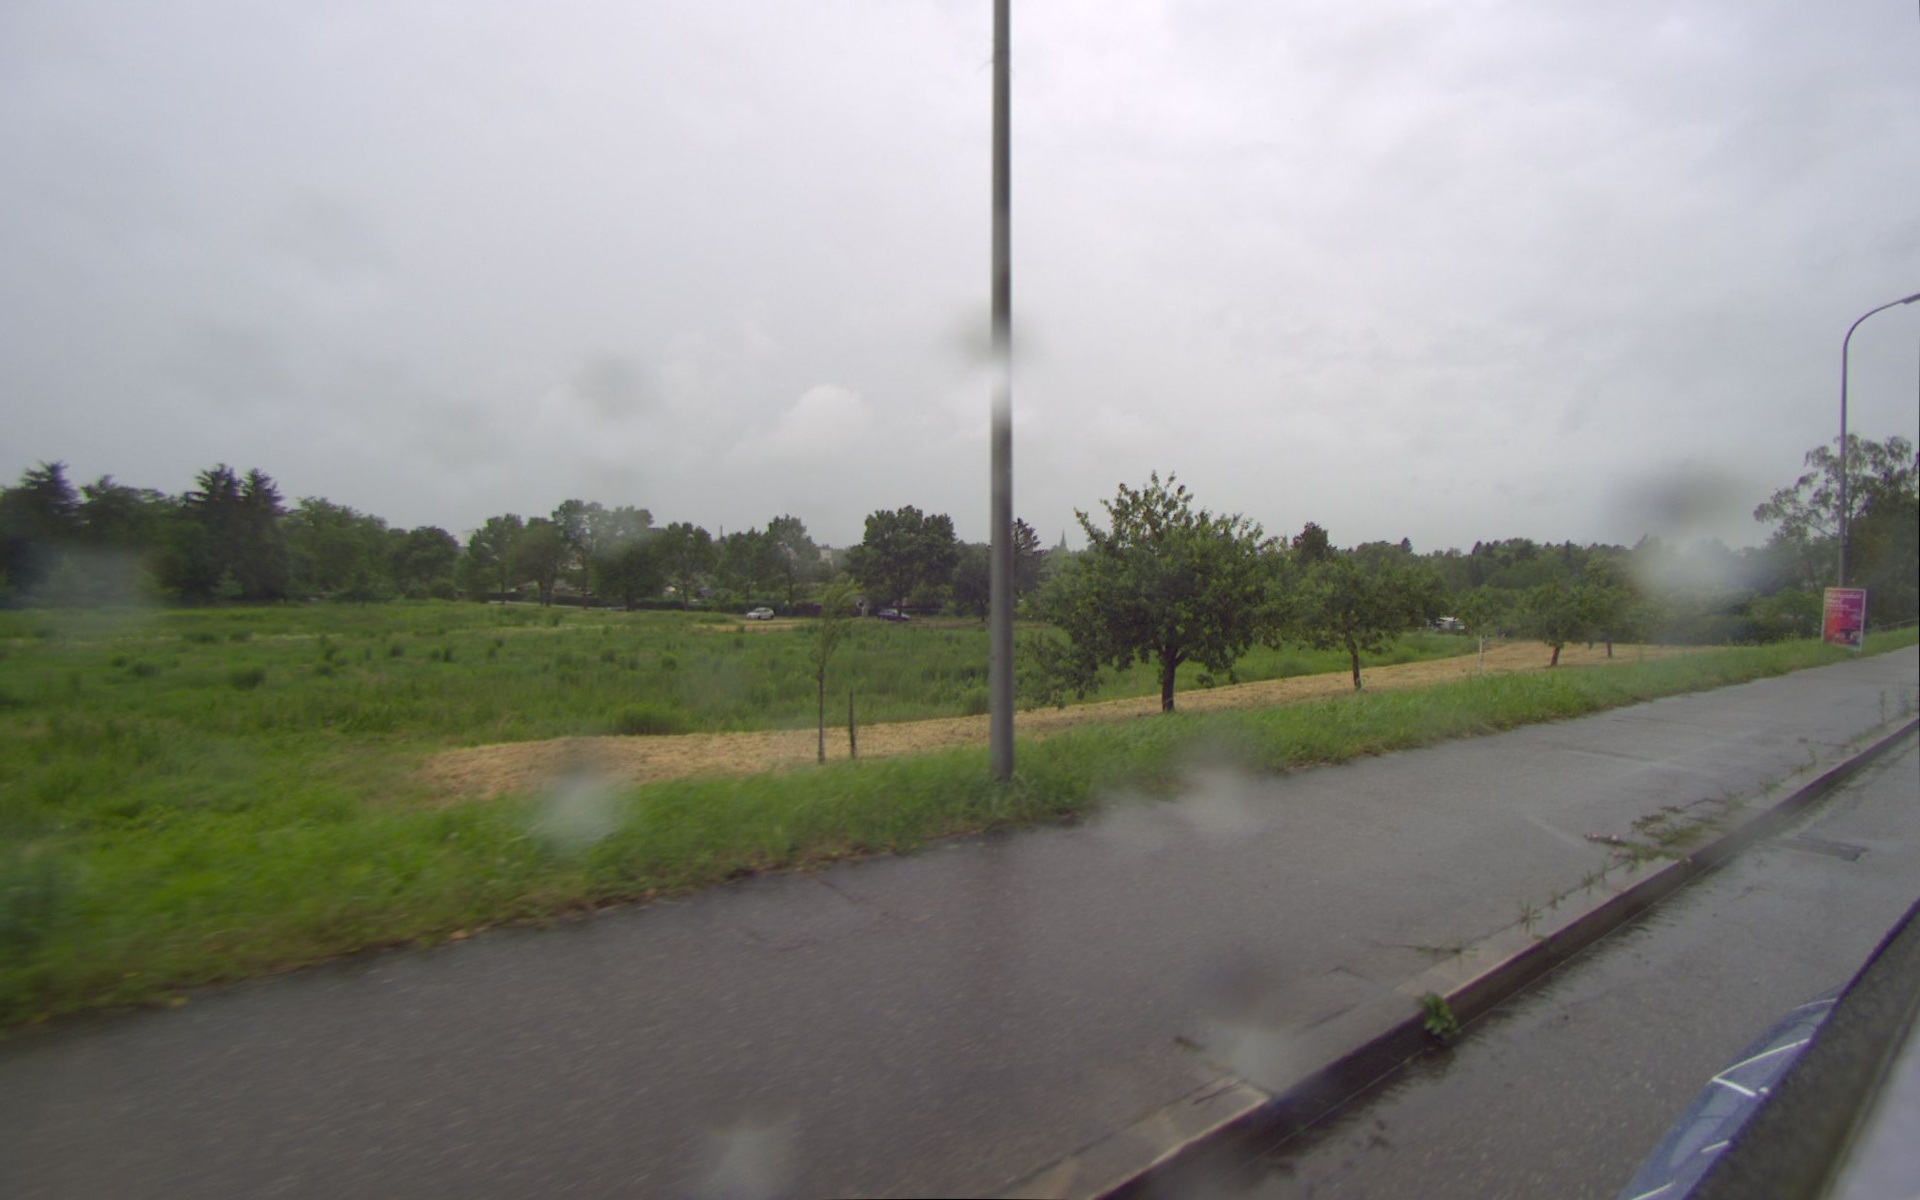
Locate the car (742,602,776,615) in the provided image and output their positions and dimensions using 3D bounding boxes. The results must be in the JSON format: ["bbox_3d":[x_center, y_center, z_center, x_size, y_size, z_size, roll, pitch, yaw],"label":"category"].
[{"bbox_3d":[-24.628,1.015,124.188,1.785,1.529,4.121,0,0,30],"label":"car"}]

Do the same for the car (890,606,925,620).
[{"bbox_3d":[-6.022,1.455,116.260,3.984,1.529,1.773,1,1,42],"label":"car"}]
